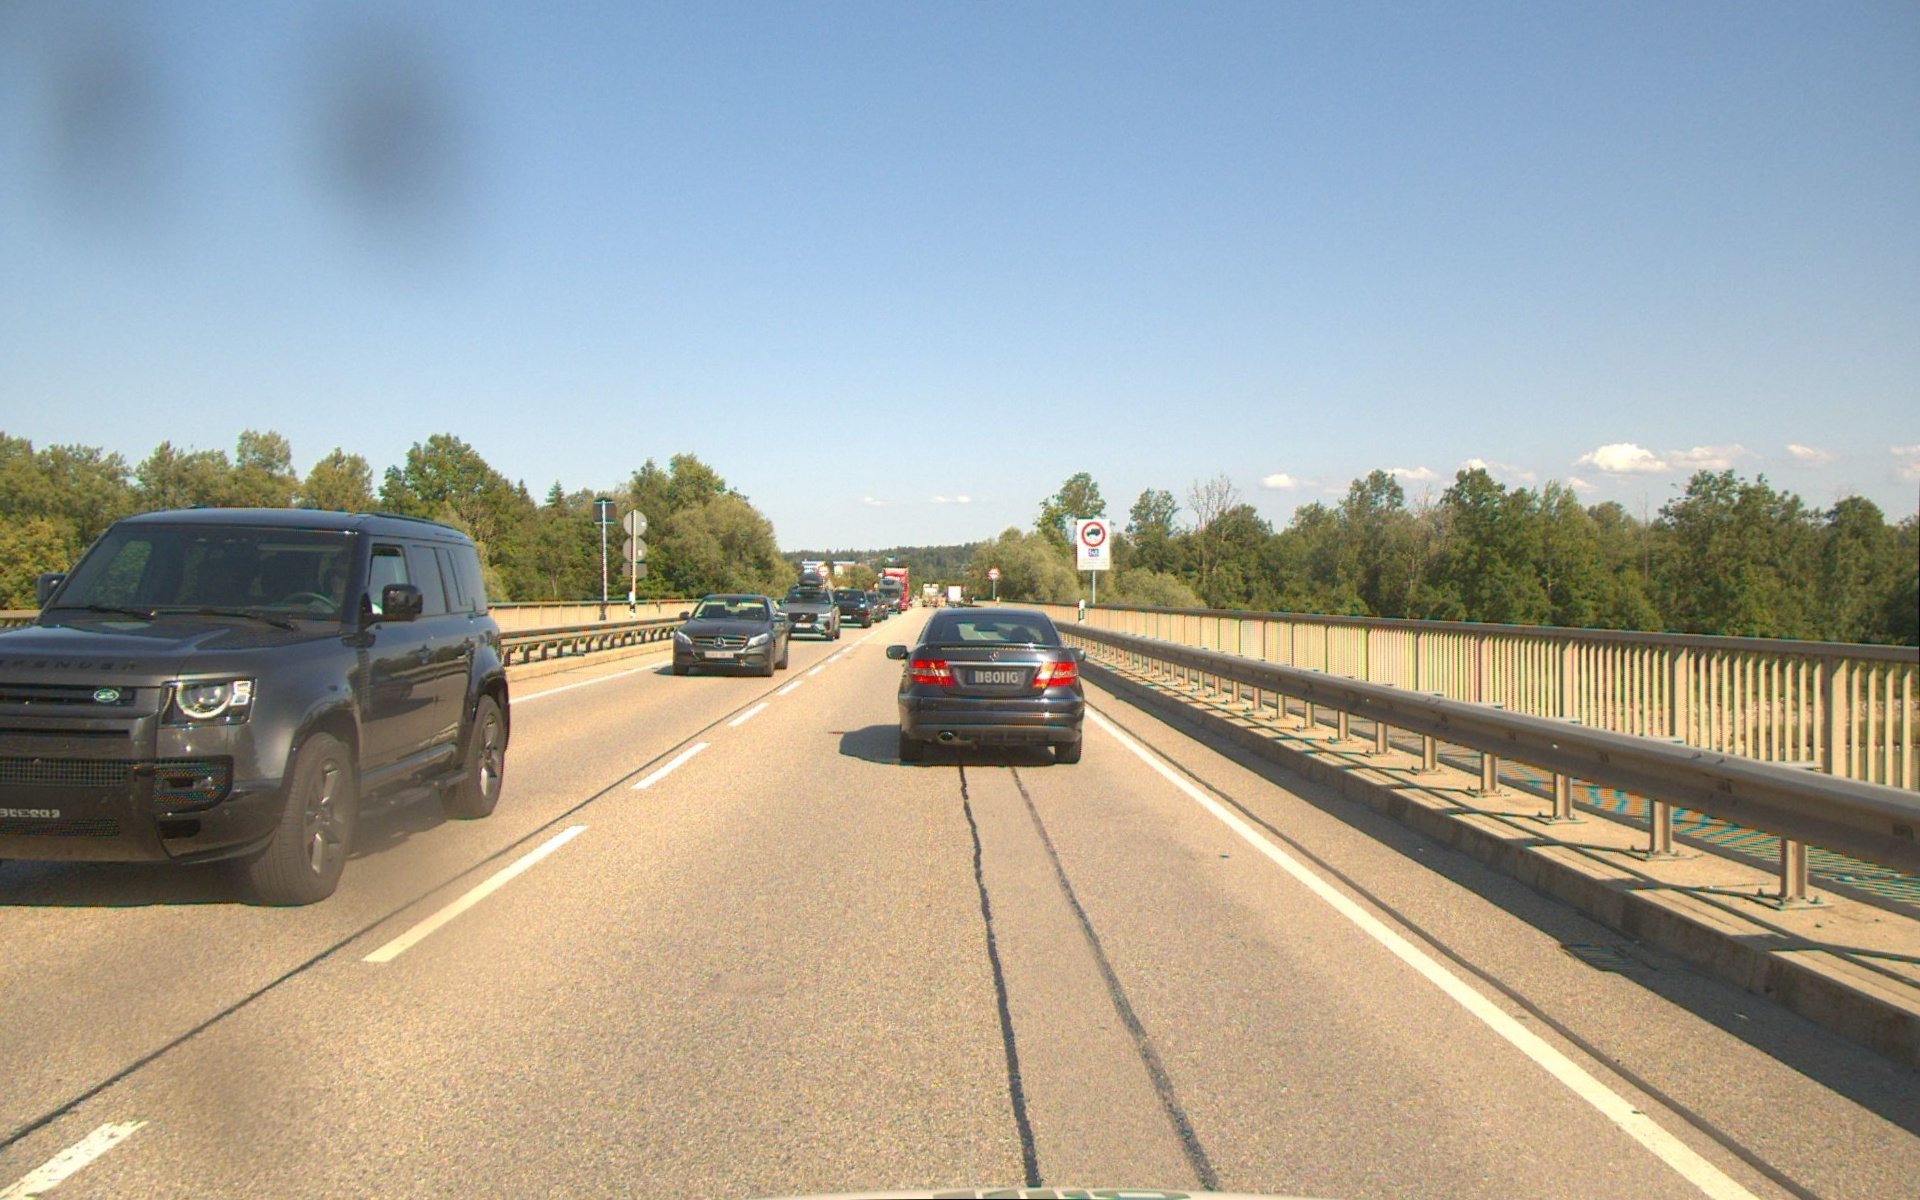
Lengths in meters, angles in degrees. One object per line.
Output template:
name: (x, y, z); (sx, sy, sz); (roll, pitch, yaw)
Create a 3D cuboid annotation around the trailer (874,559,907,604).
trailer: (-7.153, -1.894, 169.417); (2.850, 4.377, 14.289); (1, 0, -4)

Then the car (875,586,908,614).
car: (-4.201, -0.015, 100.594); (1.838, 1.611, 4.270); (1, 0, -5)

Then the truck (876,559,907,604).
truck: (-6.676, -1.792, 161.274); (2.850, 4.257, 5.709); (1, 0, -3)

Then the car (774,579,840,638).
car: (-4.910, 0.225, 53.608); (1.817, 1.752, 4.564); (2, 1, -3)

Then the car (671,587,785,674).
car: (-4.239, 0.511, 30.819); (1.730, 1.472, 4.453); (1, 0, -3)

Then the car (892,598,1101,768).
car: (0.282, 0.705, 16.034); (1.757, 1.400, 3.999); (1, 0, -1)

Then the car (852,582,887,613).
car: (-4.891, -0.140, 89.017); (1.771, 1.605, 4.197); (1, 0, -5)

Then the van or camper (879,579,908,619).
van or camper: (-5.398, -0.108, 134.110); (2.269, 3.104, 6.814); (2, 0, -3)

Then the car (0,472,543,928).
car: (-3.983, 0.400, 9.479); (1.996, 1.906, 5.068); (1, 0, -2)

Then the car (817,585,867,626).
car: (-5.251, 0.212, 74.213); (2.012, 1.681, 4.720); (2, 1, -2)
